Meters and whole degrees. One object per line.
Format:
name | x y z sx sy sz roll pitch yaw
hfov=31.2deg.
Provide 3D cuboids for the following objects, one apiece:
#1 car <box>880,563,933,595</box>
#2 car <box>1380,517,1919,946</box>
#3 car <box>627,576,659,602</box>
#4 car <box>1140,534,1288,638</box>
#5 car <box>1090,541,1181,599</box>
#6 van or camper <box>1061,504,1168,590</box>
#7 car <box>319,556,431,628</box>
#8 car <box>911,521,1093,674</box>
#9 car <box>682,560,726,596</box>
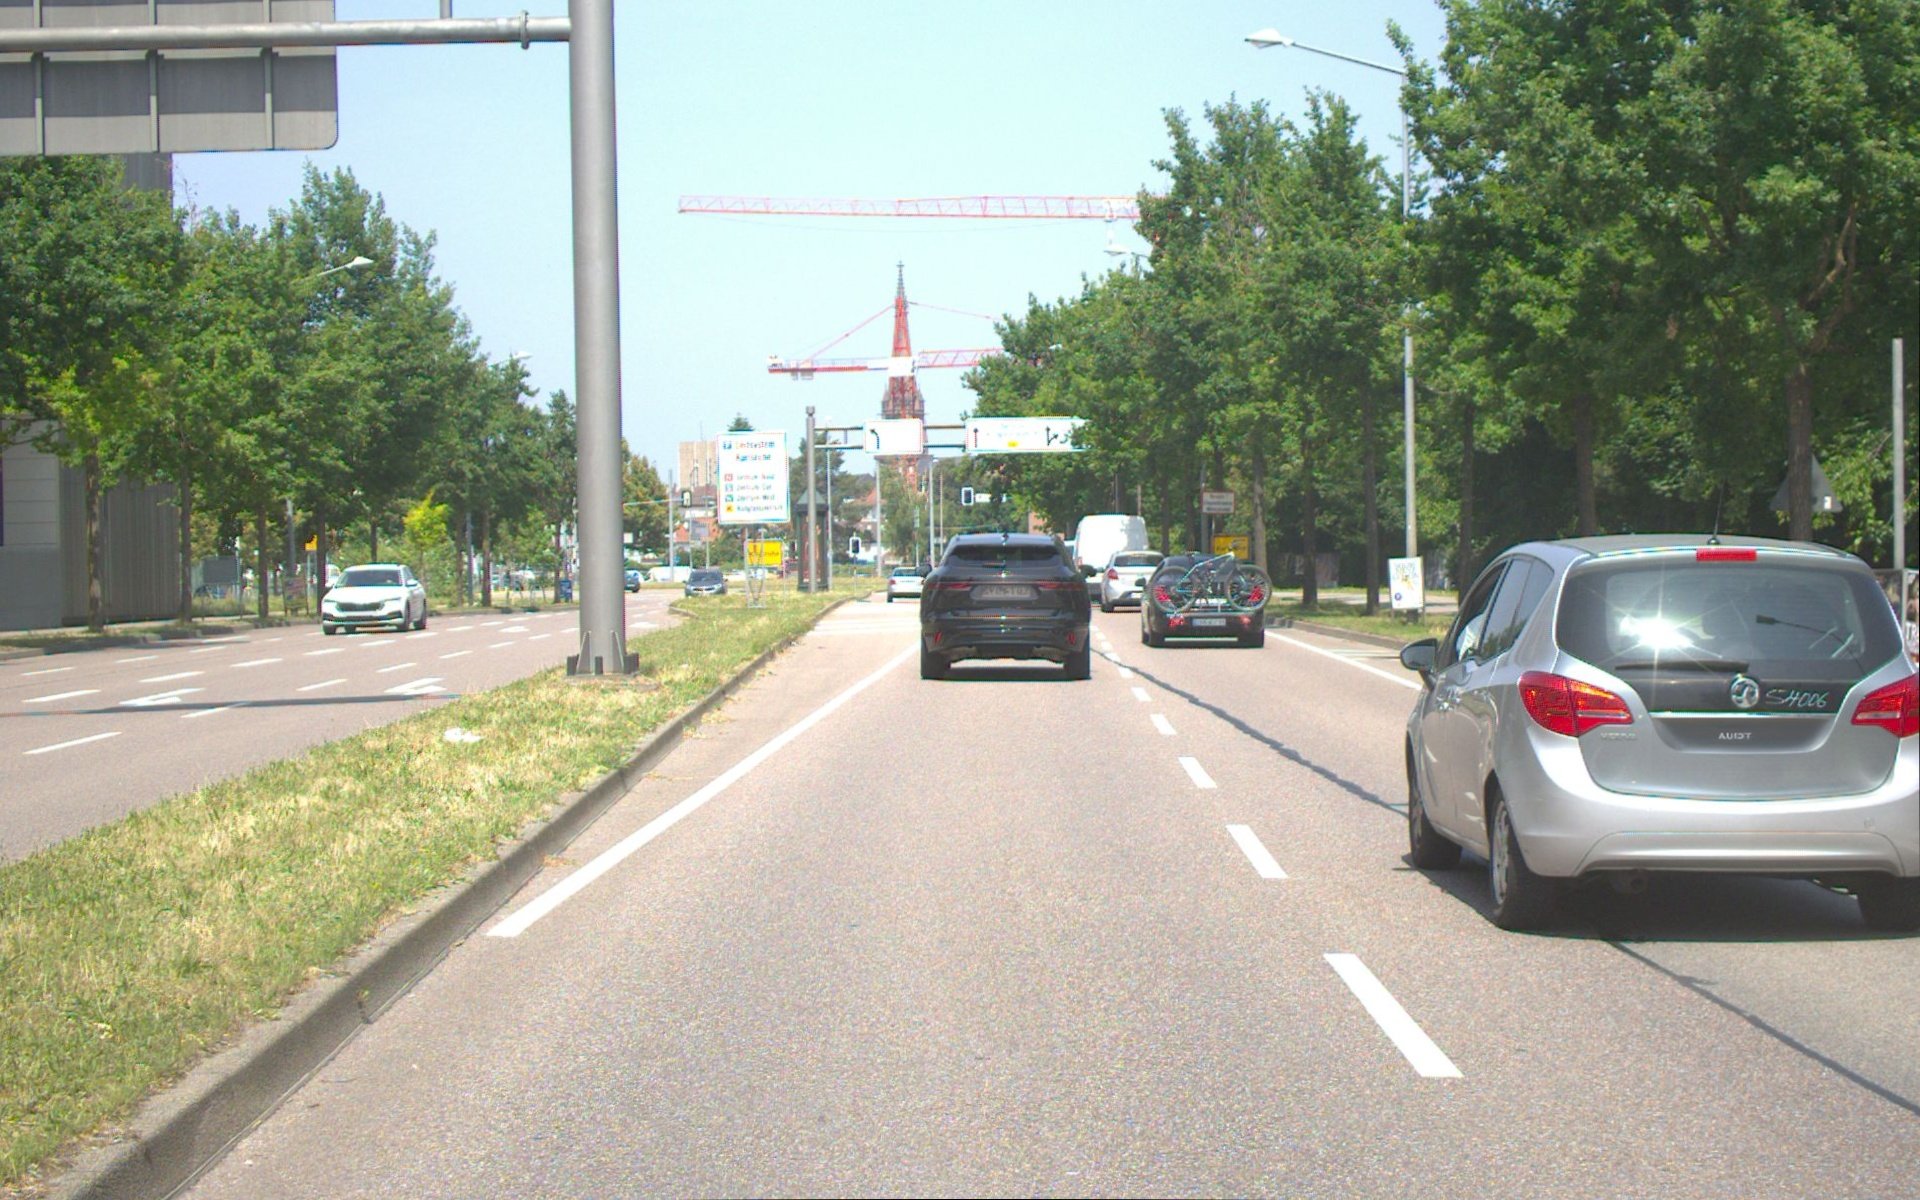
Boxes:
car | -2.335 -0.917 149.386 1.993 1.316 4.001 -1 1 -5
car | 2.961 0.462 14.950 1.792 1.606 3.891 1 1 0
car | -20.498 -0.705 222.251 1.892 1.605 4.535 -1 1 -3
car | 3.861 -0.229 52.967 2.014 1.512 4.460 -1 1 1
car | 4.238 -0.725 83.719 1.654 1.351 4.461 -1 1 -4
van or camper | 4.270 -1.462 95.802 2.493 2.283 4.921 -1 1 -3
car | -12.572 -0.200 74.090 1.810 1.422 4.359 -2 1 -3
car | 0.486 -0.064 39.975 1.998 1.684 4.034 0 1 1
car | -11.076 -0.963 148.931 1.707 1.467 3.942 -2 1 -3
